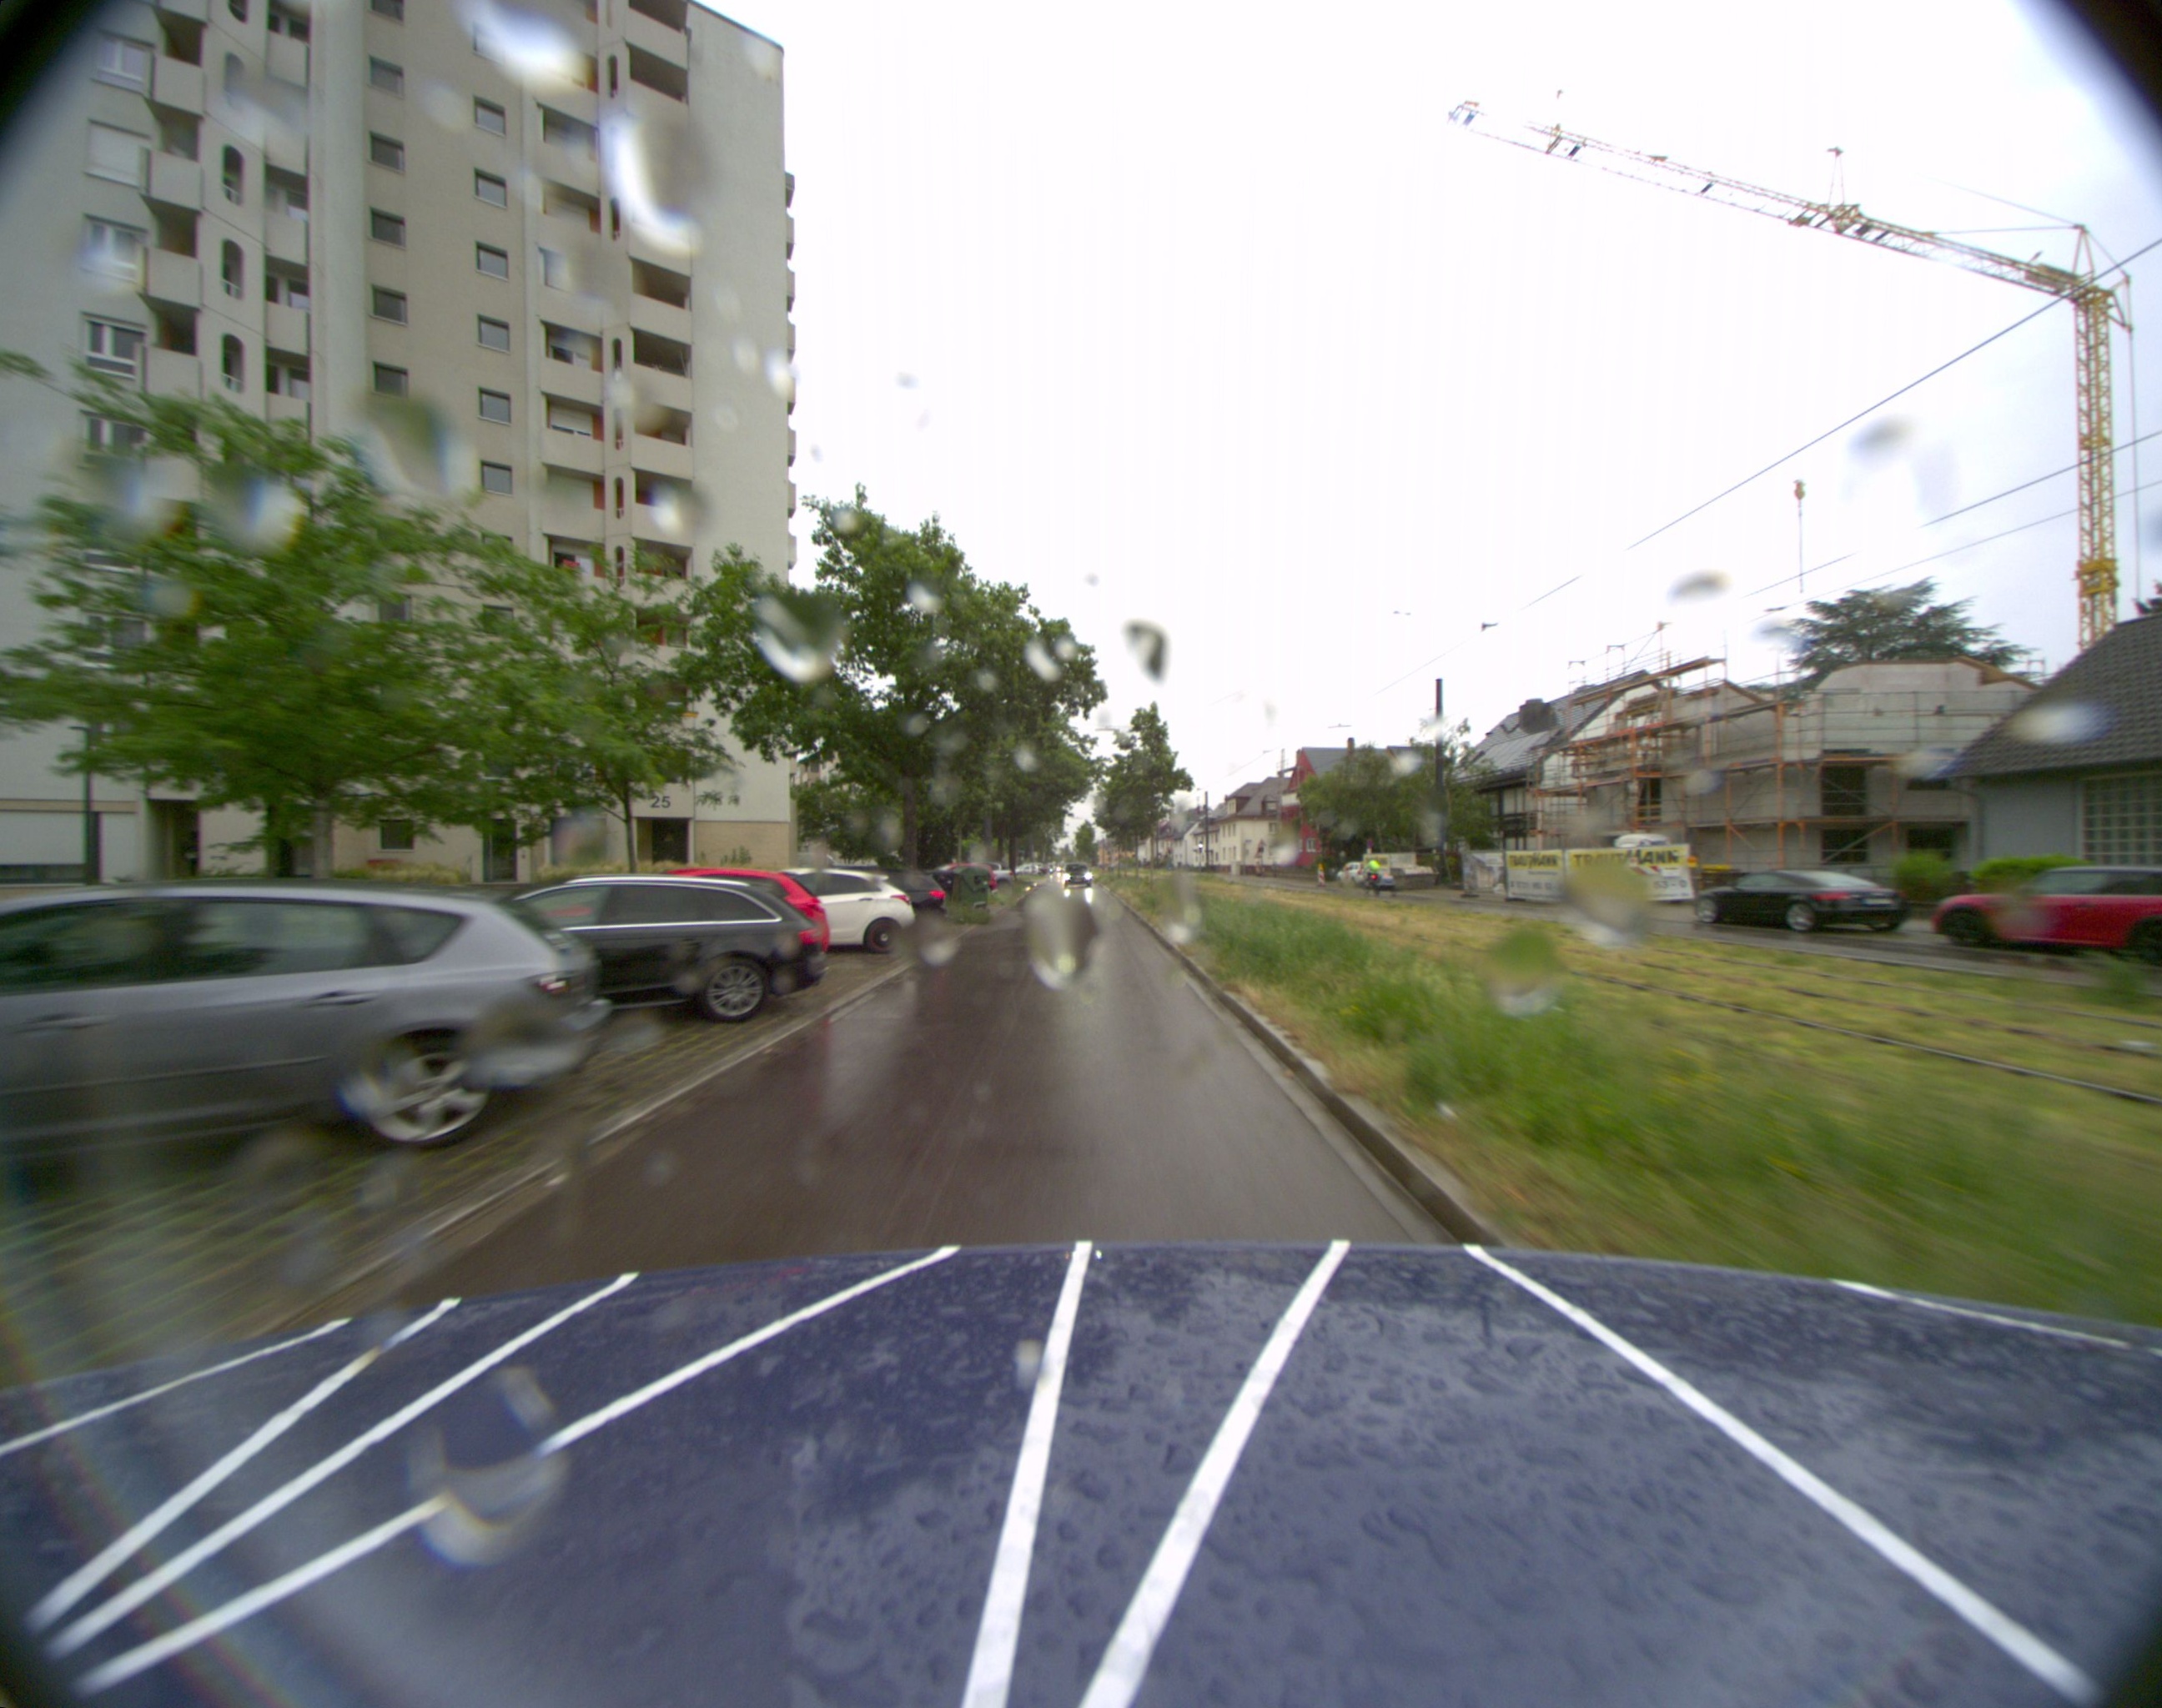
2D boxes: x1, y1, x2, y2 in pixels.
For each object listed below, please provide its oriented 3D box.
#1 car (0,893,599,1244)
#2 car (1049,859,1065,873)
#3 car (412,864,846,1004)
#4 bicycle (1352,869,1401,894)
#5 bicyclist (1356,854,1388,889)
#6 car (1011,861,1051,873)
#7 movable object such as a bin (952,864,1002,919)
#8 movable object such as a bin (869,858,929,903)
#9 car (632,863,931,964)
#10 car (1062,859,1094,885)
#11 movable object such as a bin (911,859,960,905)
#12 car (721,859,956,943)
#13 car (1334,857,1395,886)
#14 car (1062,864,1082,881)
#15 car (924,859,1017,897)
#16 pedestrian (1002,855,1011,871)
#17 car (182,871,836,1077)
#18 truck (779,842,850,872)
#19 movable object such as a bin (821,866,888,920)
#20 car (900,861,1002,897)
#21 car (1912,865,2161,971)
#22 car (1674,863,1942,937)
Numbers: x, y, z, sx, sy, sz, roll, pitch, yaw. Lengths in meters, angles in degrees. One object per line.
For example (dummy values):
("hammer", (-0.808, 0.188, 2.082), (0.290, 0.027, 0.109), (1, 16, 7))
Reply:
("car", (-5.148, 0.943, 3.869), (4.470, 1.401, 1.764), (3, -2, -34))
("car", (-3.305, 1.624, 105.056), (1.998, 1.696, 4.000), (-1, 1, 2))
("car", (-5.608, 0.923, 9.882), (4.471, 1.419, 1.805), (3, -2, -37))
("bicycle", (13.796, 1.256, 35.622), (0.937, 1.037, 3.434), (0, 0, -1))
("bicyclist", (13.778, 0.818, 36.067), (0.956, 1.575, 1.400), (-1, 1, 0))
("car", (-6.072, 1.553, 92.292), (4.486, 1.320, 1.995), (-2, 1, -29))
("movable object such as a bin", (-3.183, 1.118, 23.221), (1.165, 1.553, 1.372), (-2, 1, -22))
("movable object such as a bin", (-5.305, 0.746, 22.167), (1.244, 1.244, 1.183), (-2, 1, -44))
("car", (-5.065, 0.969, 13.086), (4.470, 1.456, 1.815), (3, -2, -33))
("car", (-0.174, 1.174, 51.012), (1.998, 1.611, 3.999), (-1, 1, 0))
("movable object such as a bin", (-4.386, 0.824, 22.929), (0.999, 1.305, 1.184), (-2, 1, -37))
("car", (-5.111, 0.984, 16.225), (4.469, 1.533, 1.680), (3, 0, -31))
("car", (17.230, 1.037, 46.329), (1.999, 1.618, 4.250), (-2, 1, -2))
("car", (-0.946, 2.100, 85.674), (1.998, 1.761, 4.000), (-1, 1, 2))
("car", (-5.289, 1.093, 36.538), (4.054, 1.675, 1.720), (-1, 0, -35))
("pedestrian", (-10.040, 1.209, 102.357), (1.014, 2.002, 1.158), (-2, 1, -2))
("car", (-4.859, 0.953, 7.257), (4.470, 1.419, 1.680), (3, -2, -33))
("truck", (-23.390, 0.270, 66.917), (5.680, 2.424, 2.121), (-2, 1, -17))
("movable object such as a bin", (-6.346, 1.064, 21.286), (1.370, 1.414, 1.183), (-2, 1, -41))
("car", (-5.677, 1.110, 33.325), (4.055, 1.479, 1.720), (2, -2, -35))
("car", (16.124, 0.920, 11.910), (1.999, 1.365, 3.843), (-1, 1, 0))
("car", (16.071, 0.970, 17.181), (1.999, 1.401, 4.175), (-1, -2, 0))
